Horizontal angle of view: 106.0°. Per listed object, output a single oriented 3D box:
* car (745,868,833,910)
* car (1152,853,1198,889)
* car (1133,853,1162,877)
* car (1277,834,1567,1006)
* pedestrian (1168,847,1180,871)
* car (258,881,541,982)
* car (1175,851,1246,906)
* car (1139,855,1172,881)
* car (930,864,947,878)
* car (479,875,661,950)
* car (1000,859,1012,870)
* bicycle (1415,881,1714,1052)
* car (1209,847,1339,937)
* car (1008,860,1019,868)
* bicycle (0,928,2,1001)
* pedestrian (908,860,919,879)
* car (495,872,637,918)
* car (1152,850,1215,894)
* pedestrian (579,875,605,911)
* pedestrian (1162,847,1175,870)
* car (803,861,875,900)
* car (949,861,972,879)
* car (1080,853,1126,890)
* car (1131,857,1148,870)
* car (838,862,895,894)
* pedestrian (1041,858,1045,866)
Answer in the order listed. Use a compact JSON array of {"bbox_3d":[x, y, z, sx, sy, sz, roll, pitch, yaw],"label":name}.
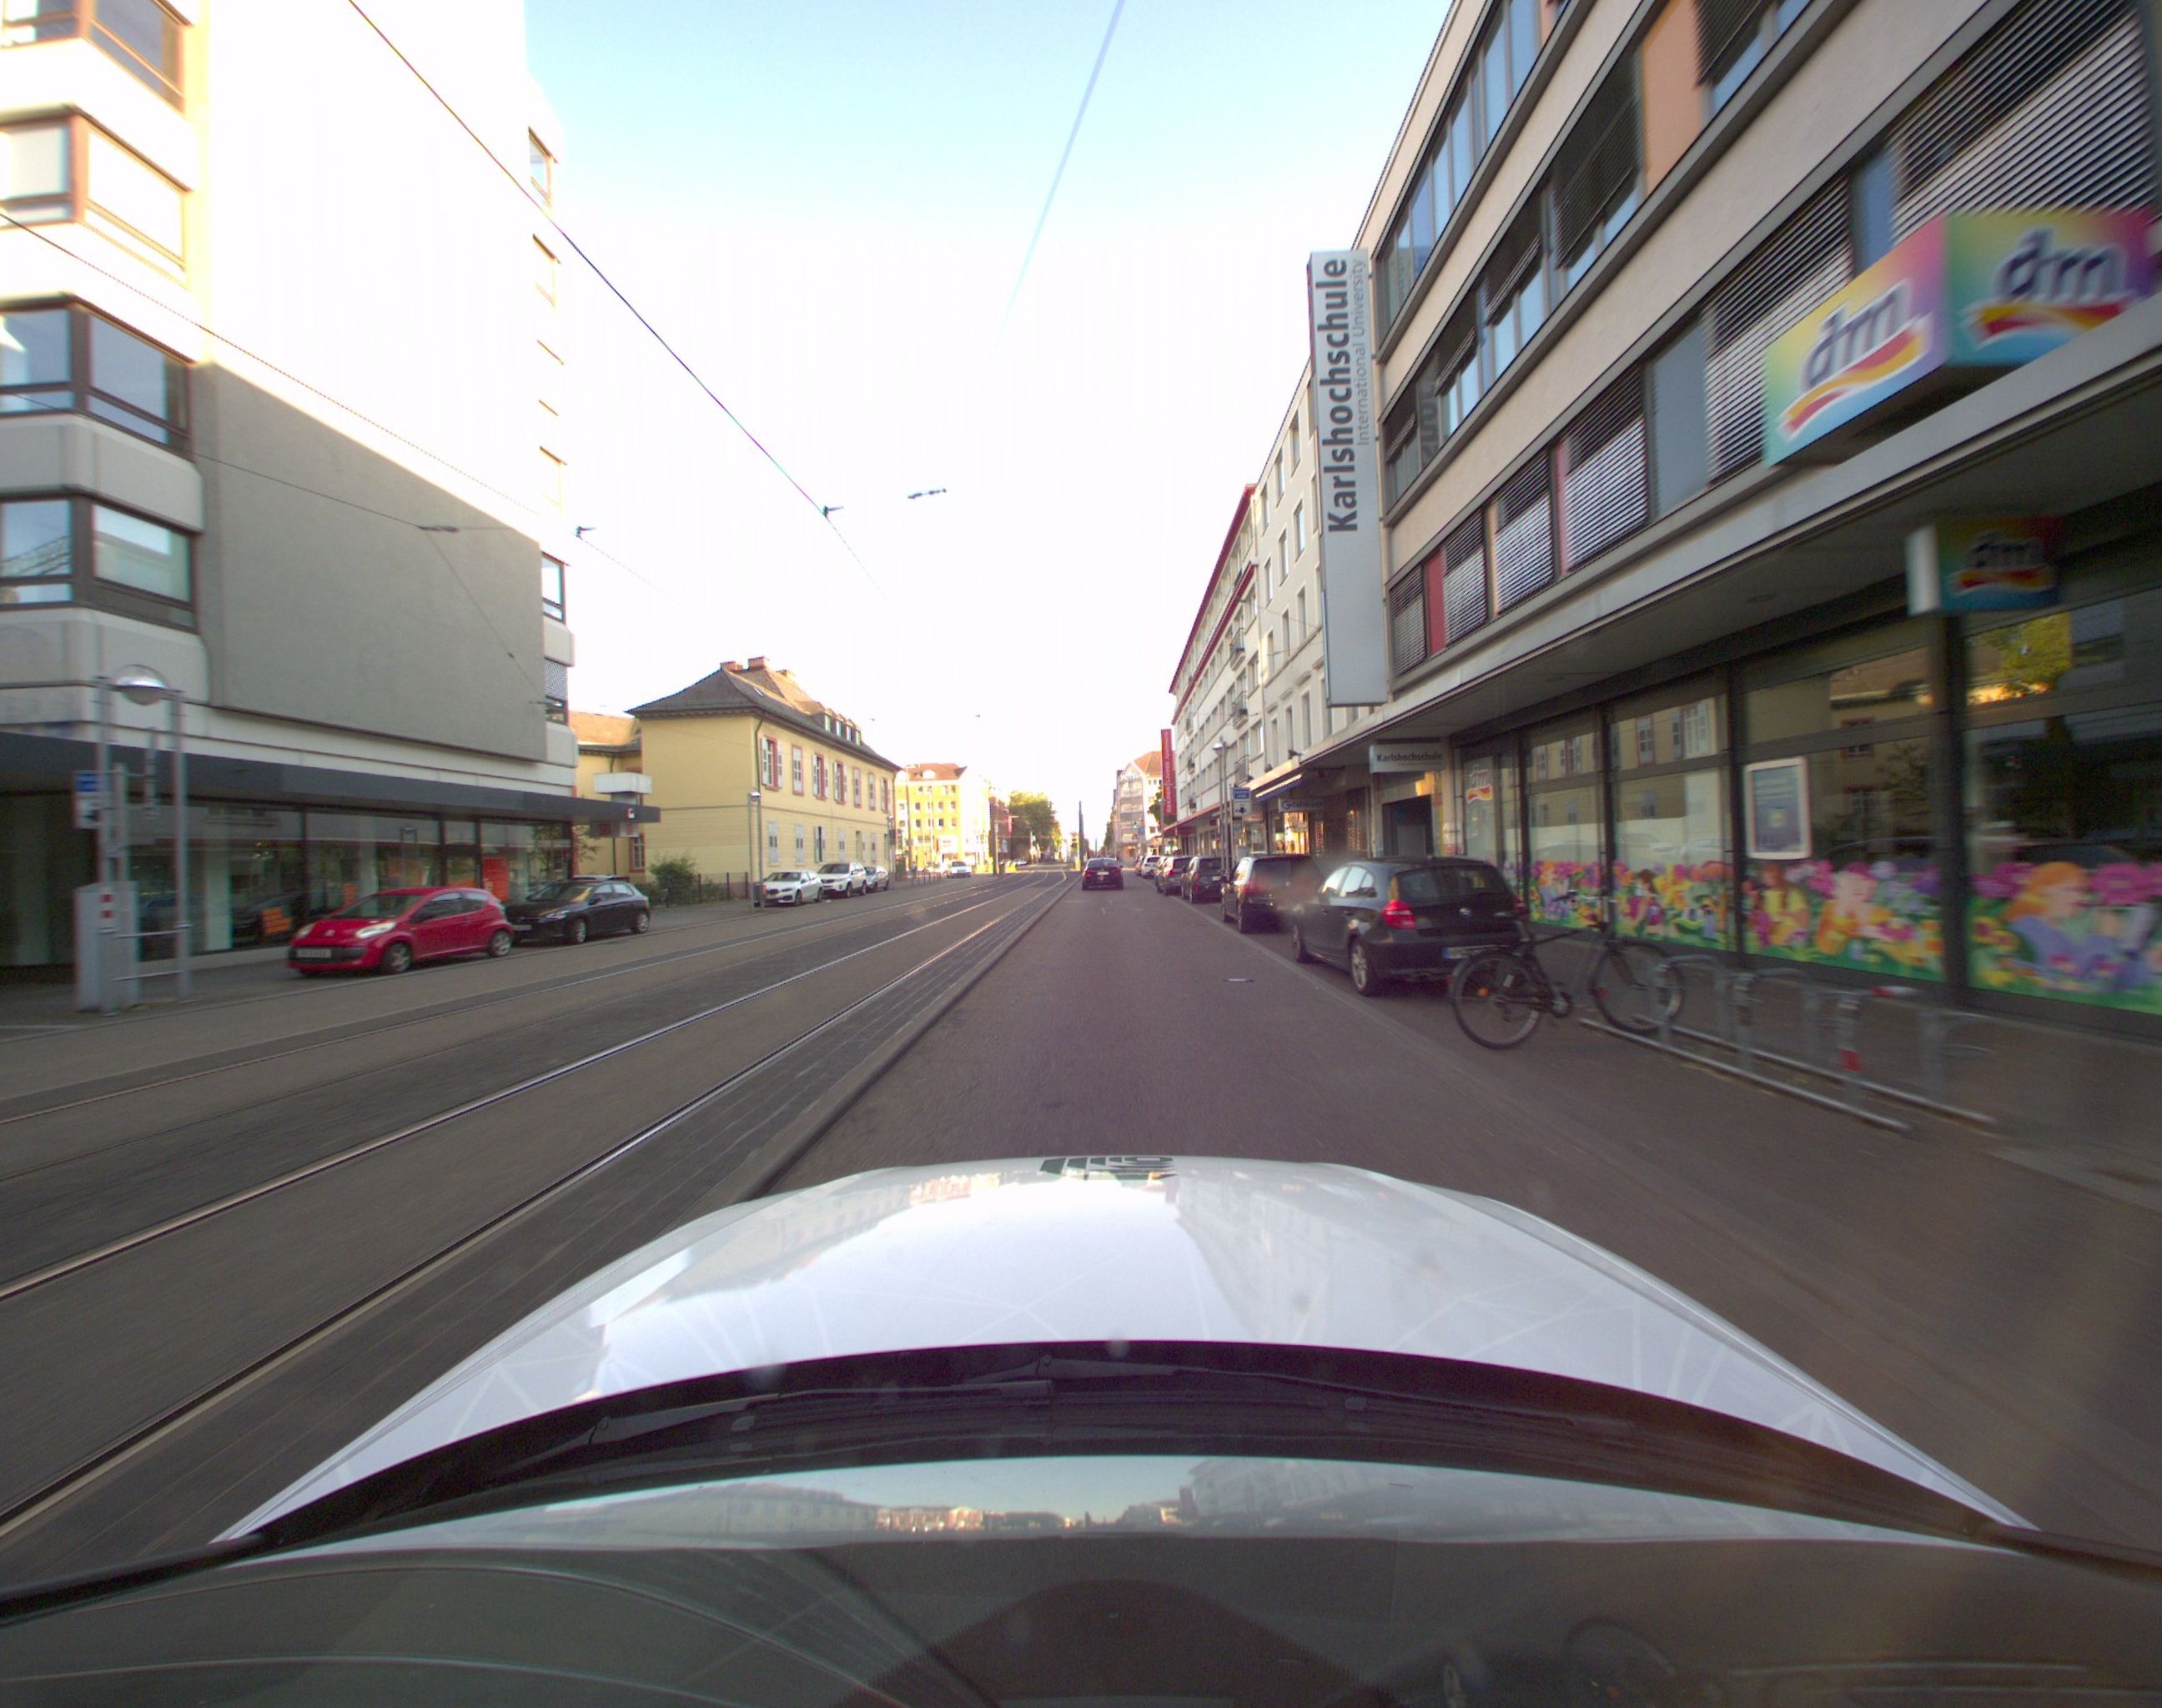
[{"bbox_3d":[-12.138,1.401,34.132,1.805,1.512,4.436,-2,0,3],"label":"car"},{"bbox_3d":[4.350,0.757,38.223,1.728,1.512,4.305,-4,0,2],"label":"car"},{"bbox_3d":[4.682,0.780,57.762,1.728,1.512,4.687,-4,0,2],"label":"car"},{"bbox_3d":[3.715,0.625,9.778,1.737,1.512,4.259,-4,0,2],"label":"car"},{"bbox_3d":[7.085,0.370,61.986,0.726,1.741,0.863,-4,0,2],"label":"pedestrian"},{"bbox_3d":[-12.520,1.327,15.394,1.679,1.512,4.217,0,0,2],"label":"car"},{"bbox_3d":[4.044,0.730,26.057,1.679,1.512,4.036,-4,0,2],"label":"car"},{"bbox_3d":[4.748,0.856,52.464,1.778,1.512,4.053,-4,0,2],"label":"car"},{"bbox_3d":[-16.066,1.902,91.785,1.734,1.512,4.023,-2,0,-8],"label":"car"},{"bbox_3d":[-12.393,1.345,20.123,1.679,1.512,4.216,-2,0,2],"label":"car"},{"bbox_3d":[-15.008,2.076,162.867,1.988,1.901,4.809,-2,0,-1],"label":"car"},{"bbox_3d":[3.673,0.827,6.281,1.880,1.138,0.676,-2,0,-2],"label":"bicycle"},{"bbox_3d":[3.792,0.680,16.698,1.714,1.512,4.169,-4,0,2],"label":"car"},{"bbox_3d":[-14.420,2.067,173.233,1.988,1.585,4.585,-2,0,-1],"label":"car"},{"bbox_3d":[-16.559,1.444,11.312,1.962,1.426,0.834,-2,0,-1],"label":"bicycle"},{"bbox_3d":[-14.336,1.354,69.913,0.729,1.584,0.954,-2,-1,-3],"label":"pedestrian"},{"bbox_3d":[-18.743,1.474,29.753,3.970,1.467,1.848,-2,0,3],"label":"car"},{"bbox_3d":[3.908,0.659,31.798,1.784,1.512,4.711,-4,0,0],"label":"car"},{"bbox_3d":[-22.420,1.776,37.331,0.743,1.572,0.675,-2,0,0],"label":"pedestrian"},{"bbox_3d":[6.743,0.362,63.062,0.824,1.718,0.843,-4,0,1],"label":"pedestrian"},{"bbox_3d":[-11.784,1.235,39.983,1.804,1.786,4.503,1,0,5],"label":"car"},{"bbox_3d":[-10.913,1.450,73.528,1.807,1.512,4.019,-2,0,-11],"label":"car"},{"bbox_3d":[1.030,0.781,37.997,1.986,1.585,4.001,-2,0,1],"label":"car"},{"bbox_3d":[7.633,1.189,105.790,1.986,1.552,4.001,-2,0,2],"label":"car"},{"bbox_3d":[-11.975,1.310,45.791,1.805,1.617,4.218,-2,0,3],"label":"car"},{"bbox_3d":[-8.913,1.897,192.174,0.985,2.014,0.726,0,-1,0],"label":"pedestrian"}]
